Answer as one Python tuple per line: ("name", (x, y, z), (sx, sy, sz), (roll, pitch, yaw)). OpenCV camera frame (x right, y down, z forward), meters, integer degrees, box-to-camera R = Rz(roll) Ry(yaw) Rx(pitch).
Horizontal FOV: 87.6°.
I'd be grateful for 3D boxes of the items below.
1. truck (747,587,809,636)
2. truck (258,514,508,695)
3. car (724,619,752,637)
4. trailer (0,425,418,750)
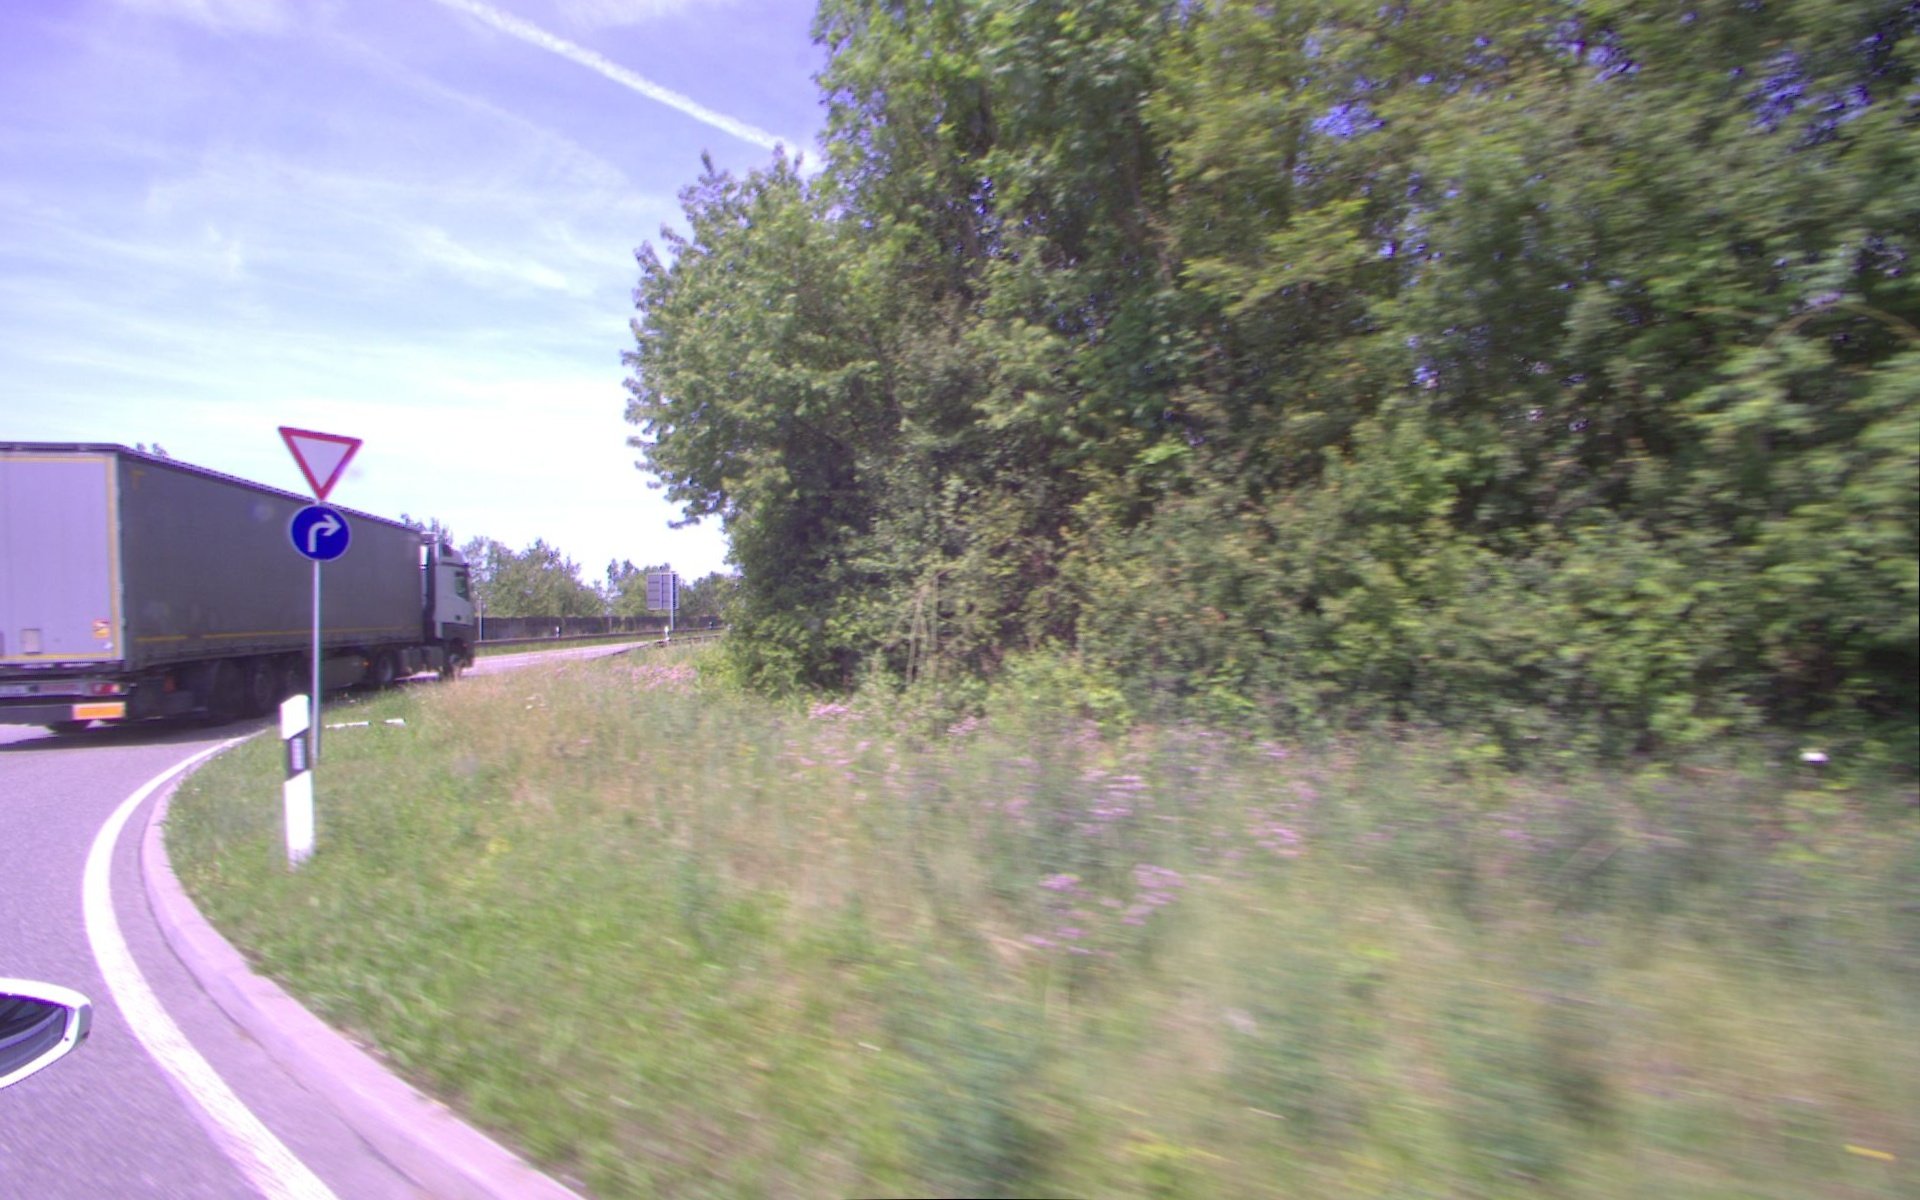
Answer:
("truck", (-19.496, 1.310, 108.780), (3.766, 4.806, 16.206), (-1, -1, 0))
("truck", (-15.437, 0.221, 27.568), (3.102, 4.278, 7.125), (-1, -2, -4))
("car", (-19.576, 2.480, 88.388), (1.639, 1.506, 4.000), (0, -1, -1))
("trailer", (-13.864, 0.037, 19.015), (2.981, 4.086, 13.339), (-1, -1, -14))
